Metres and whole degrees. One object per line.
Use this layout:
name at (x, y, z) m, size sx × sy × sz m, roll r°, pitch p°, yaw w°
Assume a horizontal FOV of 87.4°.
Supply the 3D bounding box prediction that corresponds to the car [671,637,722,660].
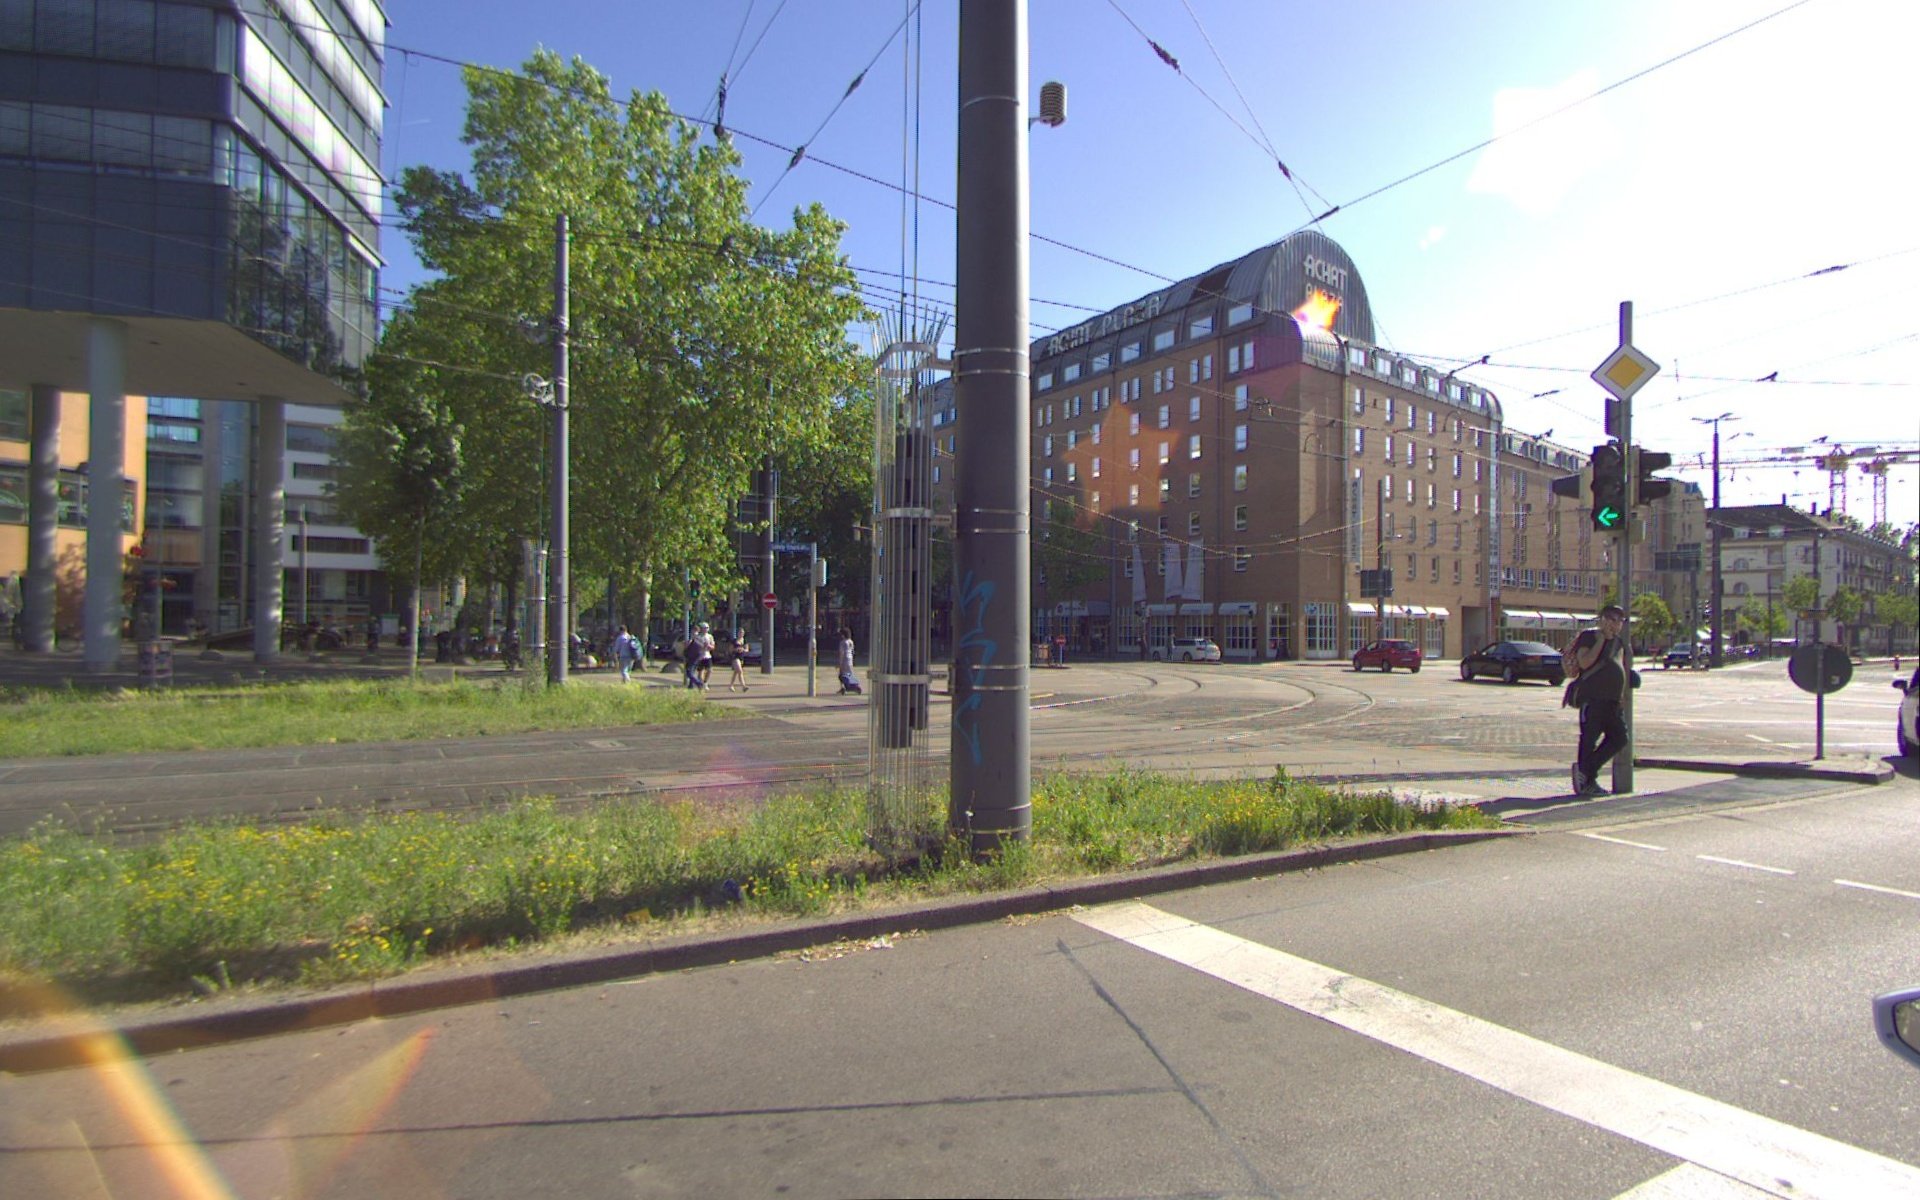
car at (-14.330, 2.609, 54.475) m, size 1.760 × 1.158 × 3.970 m, roll 1°, pitch -2°, yaw -28°

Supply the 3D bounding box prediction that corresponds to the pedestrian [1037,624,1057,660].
pedestrian at (4.843, 2.332, 55.882) m, size 0.898 × 1.957 × 0.695 m, roll 2°, pitch -2°, yaw -41°

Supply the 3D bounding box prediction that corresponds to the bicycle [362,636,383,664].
bicycle at (-30.068, 2.544, 51.380) m, size 0.462 × 1.370 × 2.343 m, roll 2°, pitch -2°, yaw -41°

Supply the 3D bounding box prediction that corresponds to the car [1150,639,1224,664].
car at (13.506, 3.065, 60.068) m, size 2.040 × 1.399 × 4.383 m, roll 2°, pitch -2°, yaw -27°

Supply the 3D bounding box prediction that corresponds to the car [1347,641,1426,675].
car at (19.430, 2.627, 45.932) m, size 1.629 × 1.468 × 3.578 m, roll 1°, pitch -2°, yaw -11°

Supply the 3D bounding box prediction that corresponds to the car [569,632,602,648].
car at (-27.646, 2.950, 74.076) m, size 1.760 × 1.158 × 3.970 m, roll 1°, pitch -2°, yaw -28°

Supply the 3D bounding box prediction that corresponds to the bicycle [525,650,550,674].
bicycle at (-15.351, 2.239, 36.490) m, size 0.372 × 0.809 × 2.010 m, roll 2°, pitch -2°, yaw -36°

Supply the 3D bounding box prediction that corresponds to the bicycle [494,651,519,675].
bicycle at (-16.030, 2.216, 35.508) m, size 0.372 × 0.809 × 2.010 m, roll 2°, pitch -2°, yaw -36°

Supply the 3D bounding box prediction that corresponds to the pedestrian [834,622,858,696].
pedestrian at (-2.902, 1.478, 25.504) m, size 0.379 × 1.855 × 0.463 m, roll 0°, pitch -1°, yaw 31°

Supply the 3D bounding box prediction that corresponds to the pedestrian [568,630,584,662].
pedestrian at (-17.863, 2.120, 46.753) m, size 0.491 × 1.471 × 0.648 m, roll 1°, pitch -2°, yaw -1°

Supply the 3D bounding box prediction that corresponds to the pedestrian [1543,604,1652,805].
pedestrian at (5.975, 0.939, 9.416) m, size 0.763 × 1.776 × 0.664 m, roll 2°, pitch -2°, yaw -41°

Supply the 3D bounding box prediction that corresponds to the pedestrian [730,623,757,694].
pedestrian at (-5.815, 1.562, 26.951) m, size 0.615 × 1.855 × 0.760 m, roll 1°, pitch -1°, yaw -19°

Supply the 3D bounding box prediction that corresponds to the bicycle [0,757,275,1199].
bicycle at (-2.682, 0.892, 1.488) m, size 2.663 × 1.084 × 0.684 m, roll 1°, pitch 0°, yaw -28°

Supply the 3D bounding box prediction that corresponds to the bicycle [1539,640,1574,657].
bicycle at (49.521, 4.018, 83.447) m, size 0.725 × 1.327 × 2.473 m, roll 2°, pitch -2°, yaw -30°

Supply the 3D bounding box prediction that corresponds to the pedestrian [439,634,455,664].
pedestrian at (-22.544, 2.151, 44.133) m, size 0.542 × 1.310 × 0.425 m, roll 2°, pitch -2°, yaw -37°

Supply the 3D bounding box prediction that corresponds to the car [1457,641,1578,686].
car at (19.825, 2.230, 35.957) m, size 1.698 × 1.468 × 4.521 m, roll 1°, pitch -2°, yaw -2°

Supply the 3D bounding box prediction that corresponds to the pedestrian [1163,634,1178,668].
pedestrian at (12.054, 2.912, 57.463) m, size 0.745 × 1.957 × 0.518 m, roll 2°, pitch -2°, yaw -41°

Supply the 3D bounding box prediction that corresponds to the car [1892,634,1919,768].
car at (13.158, 1.248, 12.775) m, size 1.706 × 1.584 × 3.660 m, roll -1°, pitch -2°, yaw 40°

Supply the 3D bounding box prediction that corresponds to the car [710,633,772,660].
car at (-10.823, 2.271, 49.429) m, size 1.975 × 1.247 × 3.970 m, roll 1°, pitch -2°, yaw -28°

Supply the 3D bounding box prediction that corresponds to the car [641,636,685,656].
car at (-17.774, 2.731, 60.000) m, size 1.760 × 1.158 × 3.970 m, roll 1°, pitch -2°, yaw -28°

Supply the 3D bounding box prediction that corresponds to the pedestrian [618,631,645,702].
pedestrian at (-8.690, 1.744, 26.580) m, size 0.453 × 1.855 × 0.458 m, roll 0°, pitch -1°, yaw 24°

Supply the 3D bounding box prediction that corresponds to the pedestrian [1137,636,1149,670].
pedestrian at (10.559, 3.079, 58.076) m, size 0.519 × 1.957 × 0.523 m, roll 1°, pitch -2°, yaw -14°

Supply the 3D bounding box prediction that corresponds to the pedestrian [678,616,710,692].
pedestrian at (-6.552, 1.325, 24.753) m, size 0.571 × 1.855 × 0.497 m, roll 0°, pitch -1°, yaw 24°

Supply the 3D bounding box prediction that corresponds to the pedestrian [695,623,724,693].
pedestrian at (-6.727, 1.542, 26.943) m, size 0.616 × 1.855 × 0.759 m, roll 1°, pitch -1°, yaw -22°

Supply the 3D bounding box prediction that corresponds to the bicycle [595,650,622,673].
bicycle at (-13.274, 2.326, 37.930) m, size 0.372 × 0.809 × 2.010 m, roll 2°, pitch -2°, yaw -36°

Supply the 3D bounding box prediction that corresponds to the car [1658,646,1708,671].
car at (44.636, 3.577, 61.989) m, size 3.888 × 1.416 × 1.596 m, roll 1°, pitch -5°, yaw -41°

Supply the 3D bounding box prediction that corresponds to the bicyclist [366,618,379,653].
bicyclist at (-30.042, 1.810, 51.392) m, size 0.462 × 1.744 × 0.479 m, roll 2°, pitch -2°, yaw -42°

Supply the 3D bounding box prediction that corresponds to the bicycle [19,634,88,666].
bicycle at (-33.470, 1.855, 37.101) m, size 1.781 × 1.149 × 0.491 m, roll 1°, pitch -2°, yaw -29°
